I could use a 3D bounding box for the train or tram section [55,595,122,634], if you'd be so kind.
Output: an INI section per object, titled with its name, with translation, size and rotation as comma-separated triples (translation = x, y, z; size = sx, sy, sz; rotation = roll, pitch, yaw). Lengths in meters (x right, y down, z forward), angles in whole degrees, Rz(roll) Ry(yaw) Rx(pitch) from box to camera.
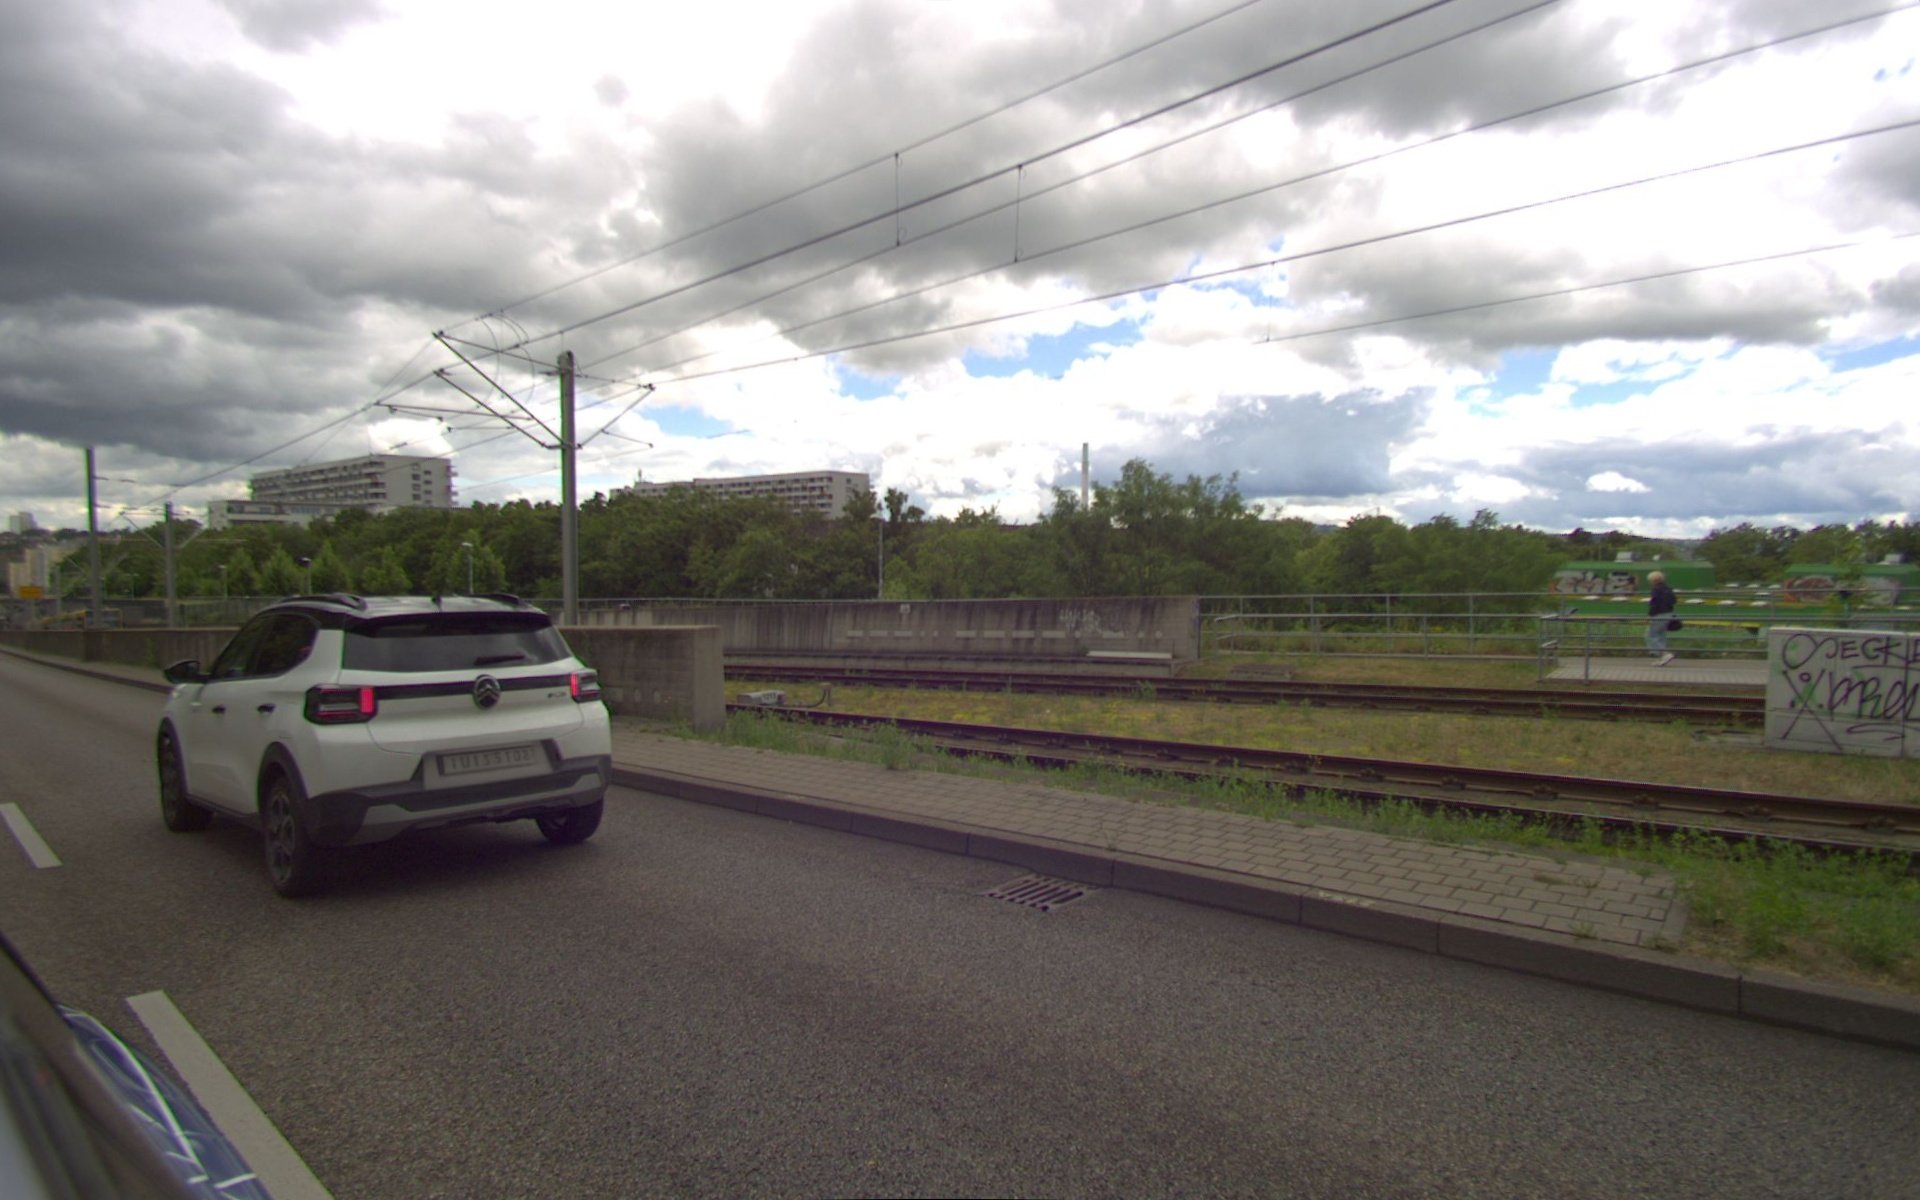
[train or tram section]
translation = -77.352, 1.280, 89.636
size = 18.478, 3.217, 2.750
rotation = -1, 0, 44

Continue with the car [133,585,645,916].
[car]
translation = -3.840, 0.720, 6.558
size = 3.741, 1.533, 1.698
rotation = -1, -1, 40

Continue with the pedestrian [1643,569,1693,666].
[pedestrian]
translation = 12.269, 0.297, 17.539
size = 0.645, 1.637, 0.502
rotation = -1, 0, 42
